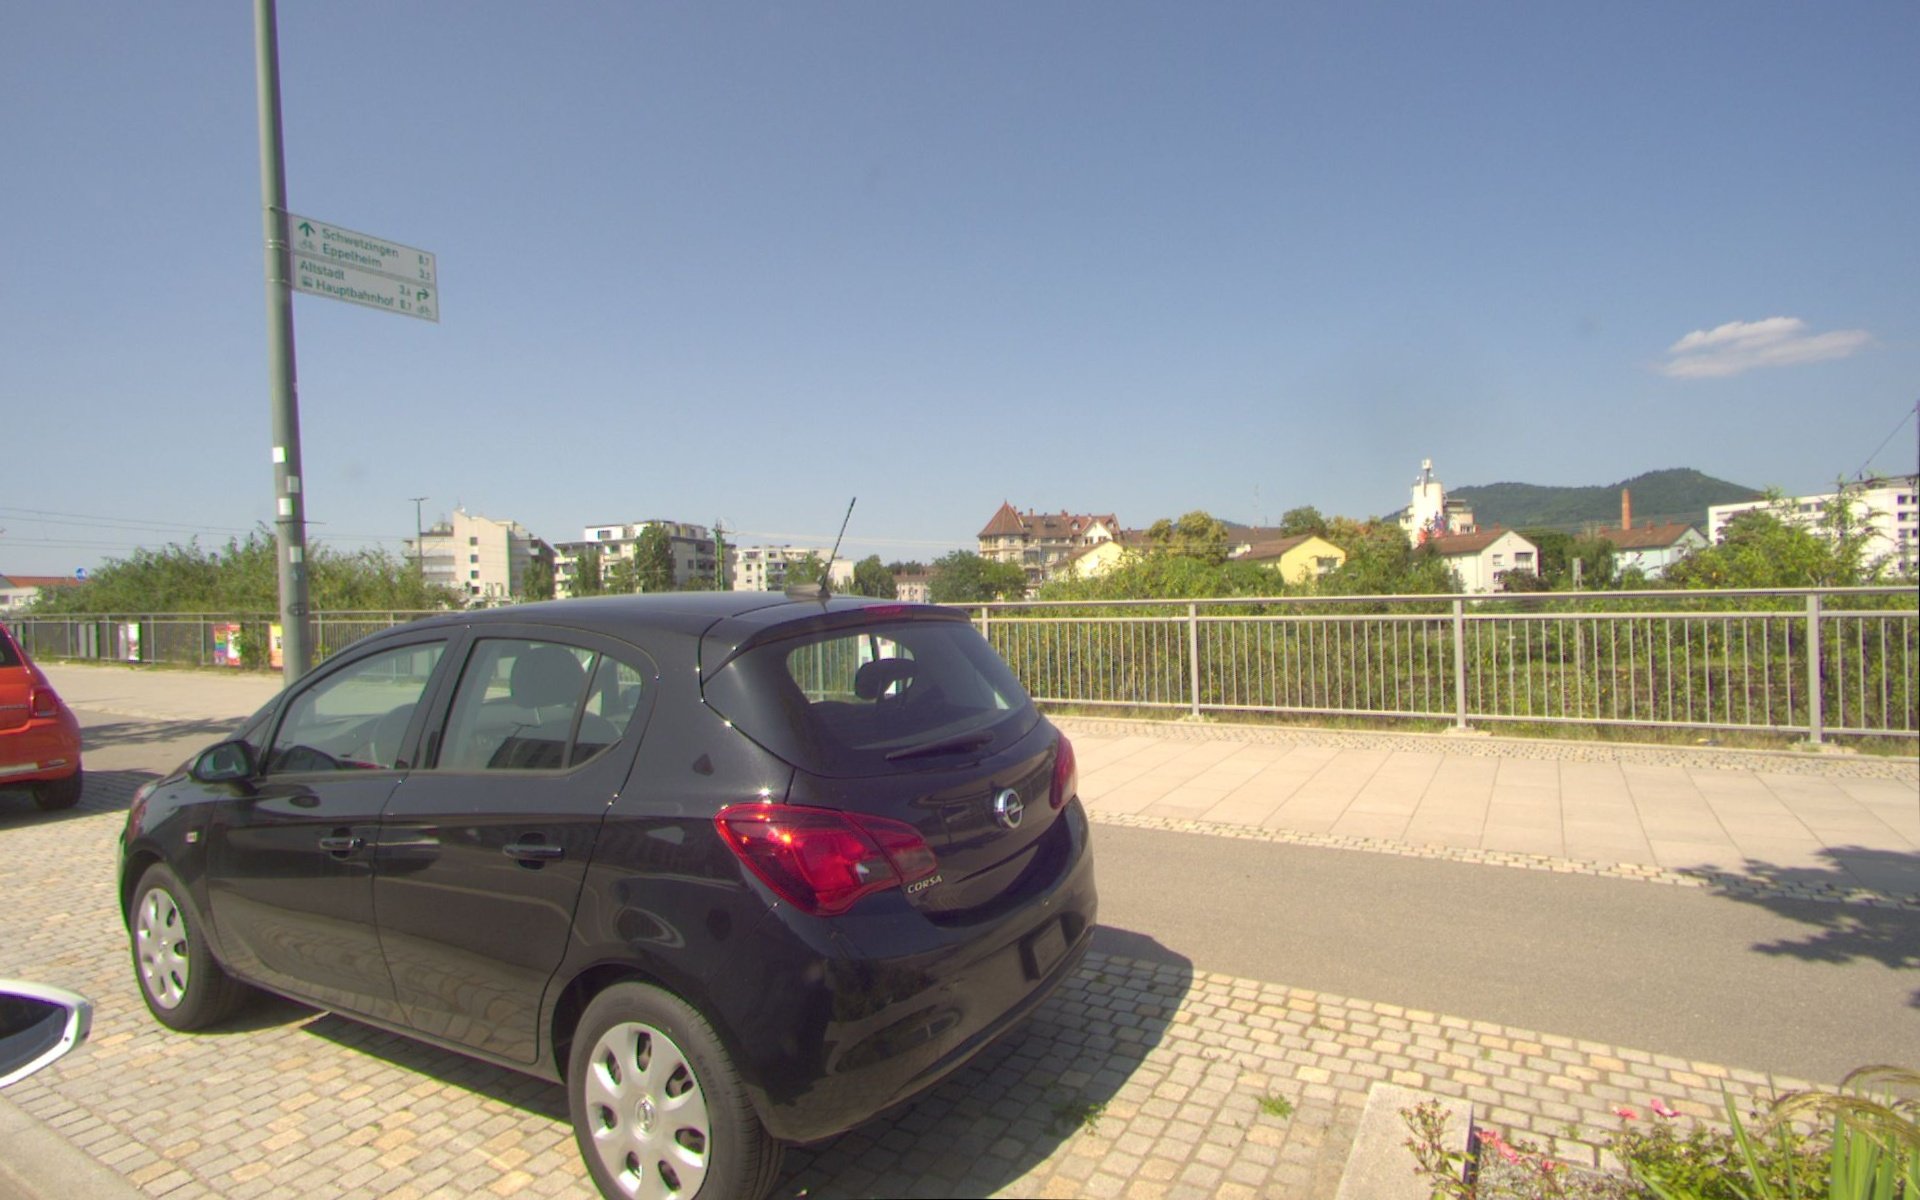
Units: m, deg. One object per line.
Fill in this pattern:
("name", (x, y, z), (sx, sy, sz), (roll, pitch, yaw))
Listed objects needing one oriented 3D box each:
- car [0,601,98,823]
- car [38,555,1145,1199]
("car", (-8.156, 0.805, 7.578), (3.305, 1.517, 1.605), (-1, 2, 34))
("car", (-1.507, 0.678, 3.604), (3.943, 1.445, 1.657), (-1, 0, 32))
